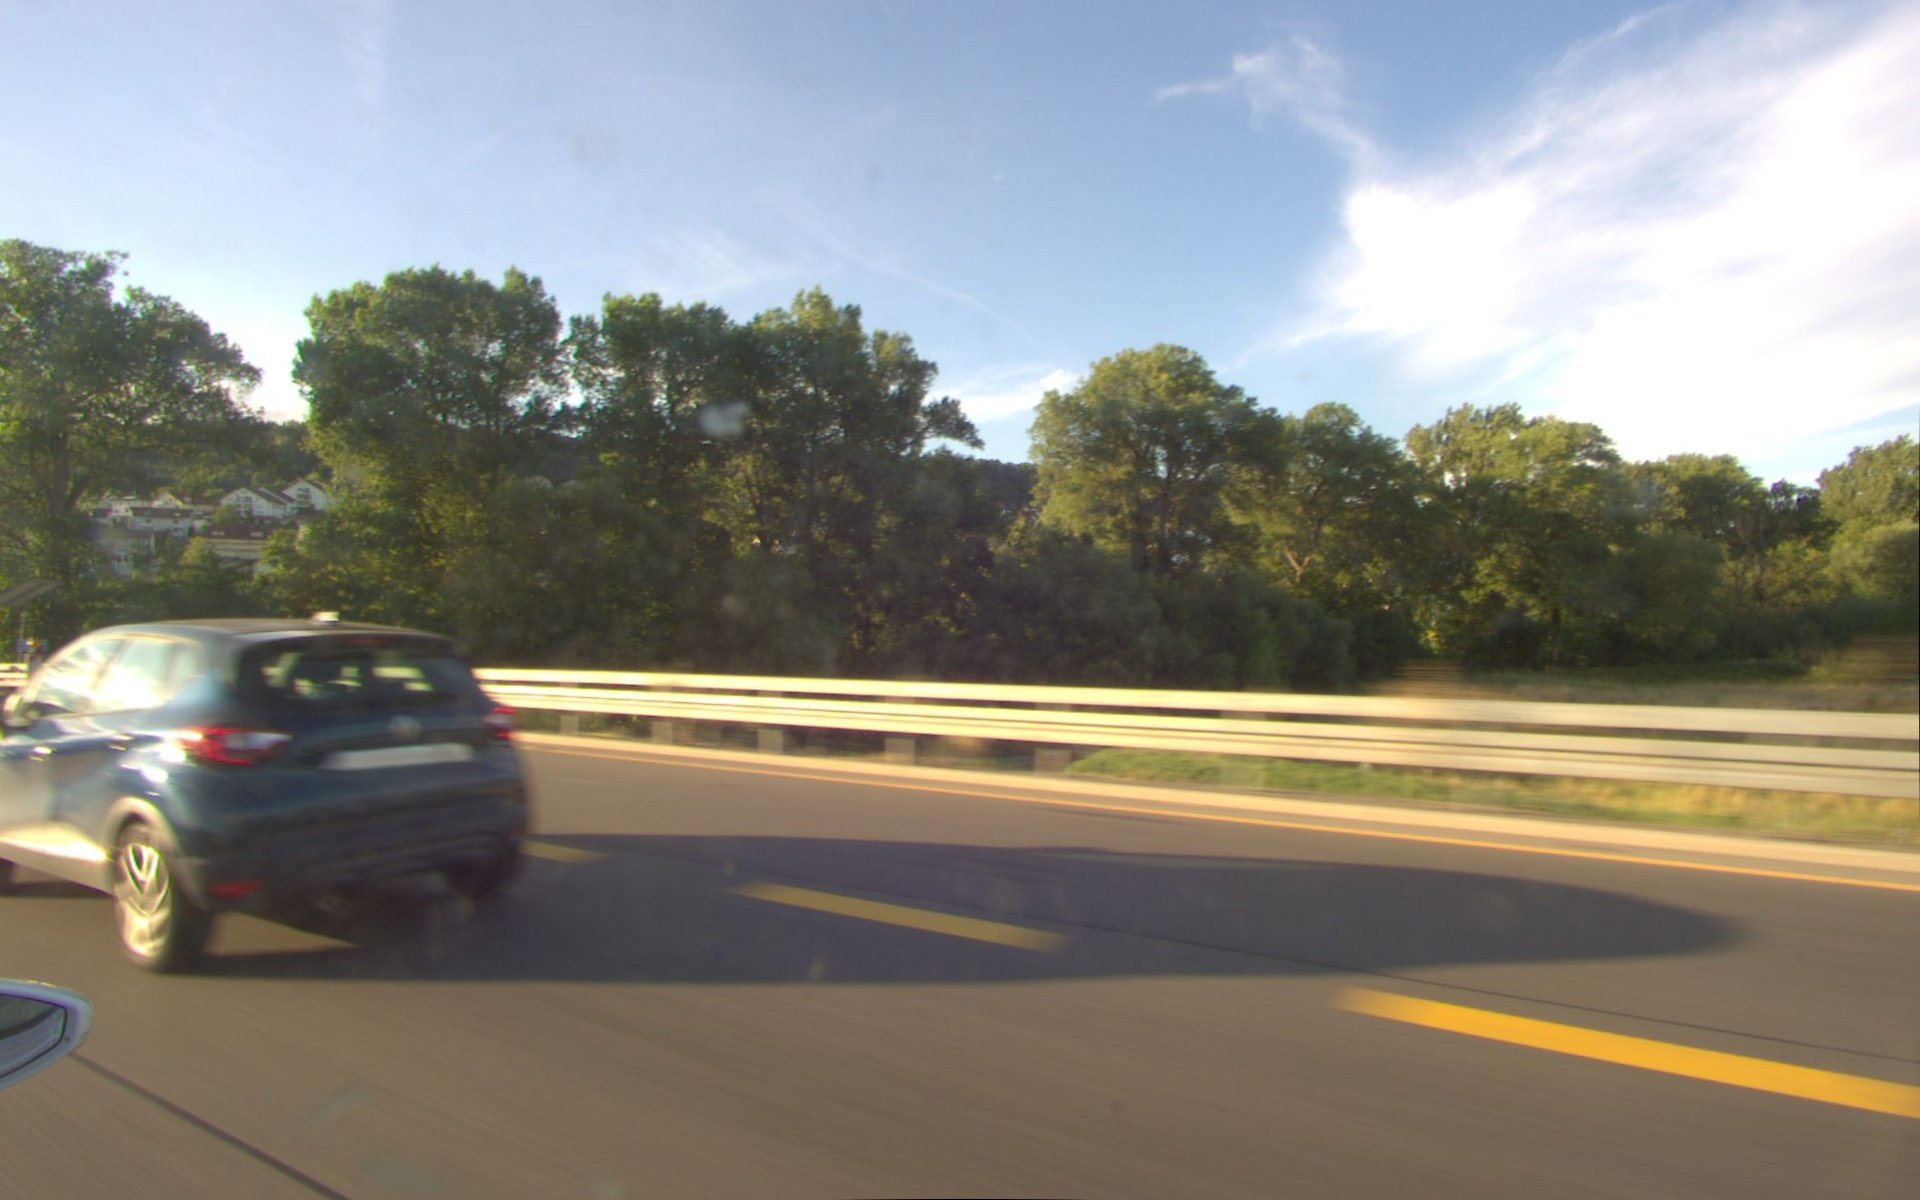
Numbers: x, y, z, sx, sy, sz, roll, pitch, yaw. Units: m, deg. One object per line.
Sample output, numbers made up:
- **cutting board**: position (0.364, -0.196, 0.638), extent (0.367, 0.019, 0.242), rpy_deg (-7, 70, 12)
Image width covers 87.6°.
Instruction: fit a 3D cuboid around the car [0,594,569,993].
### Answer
- **car**: position (-4.360, 0.831, 5.881), extent (4.075, 1.606, 1.771), rpy_deg (-1, -2, 32)
